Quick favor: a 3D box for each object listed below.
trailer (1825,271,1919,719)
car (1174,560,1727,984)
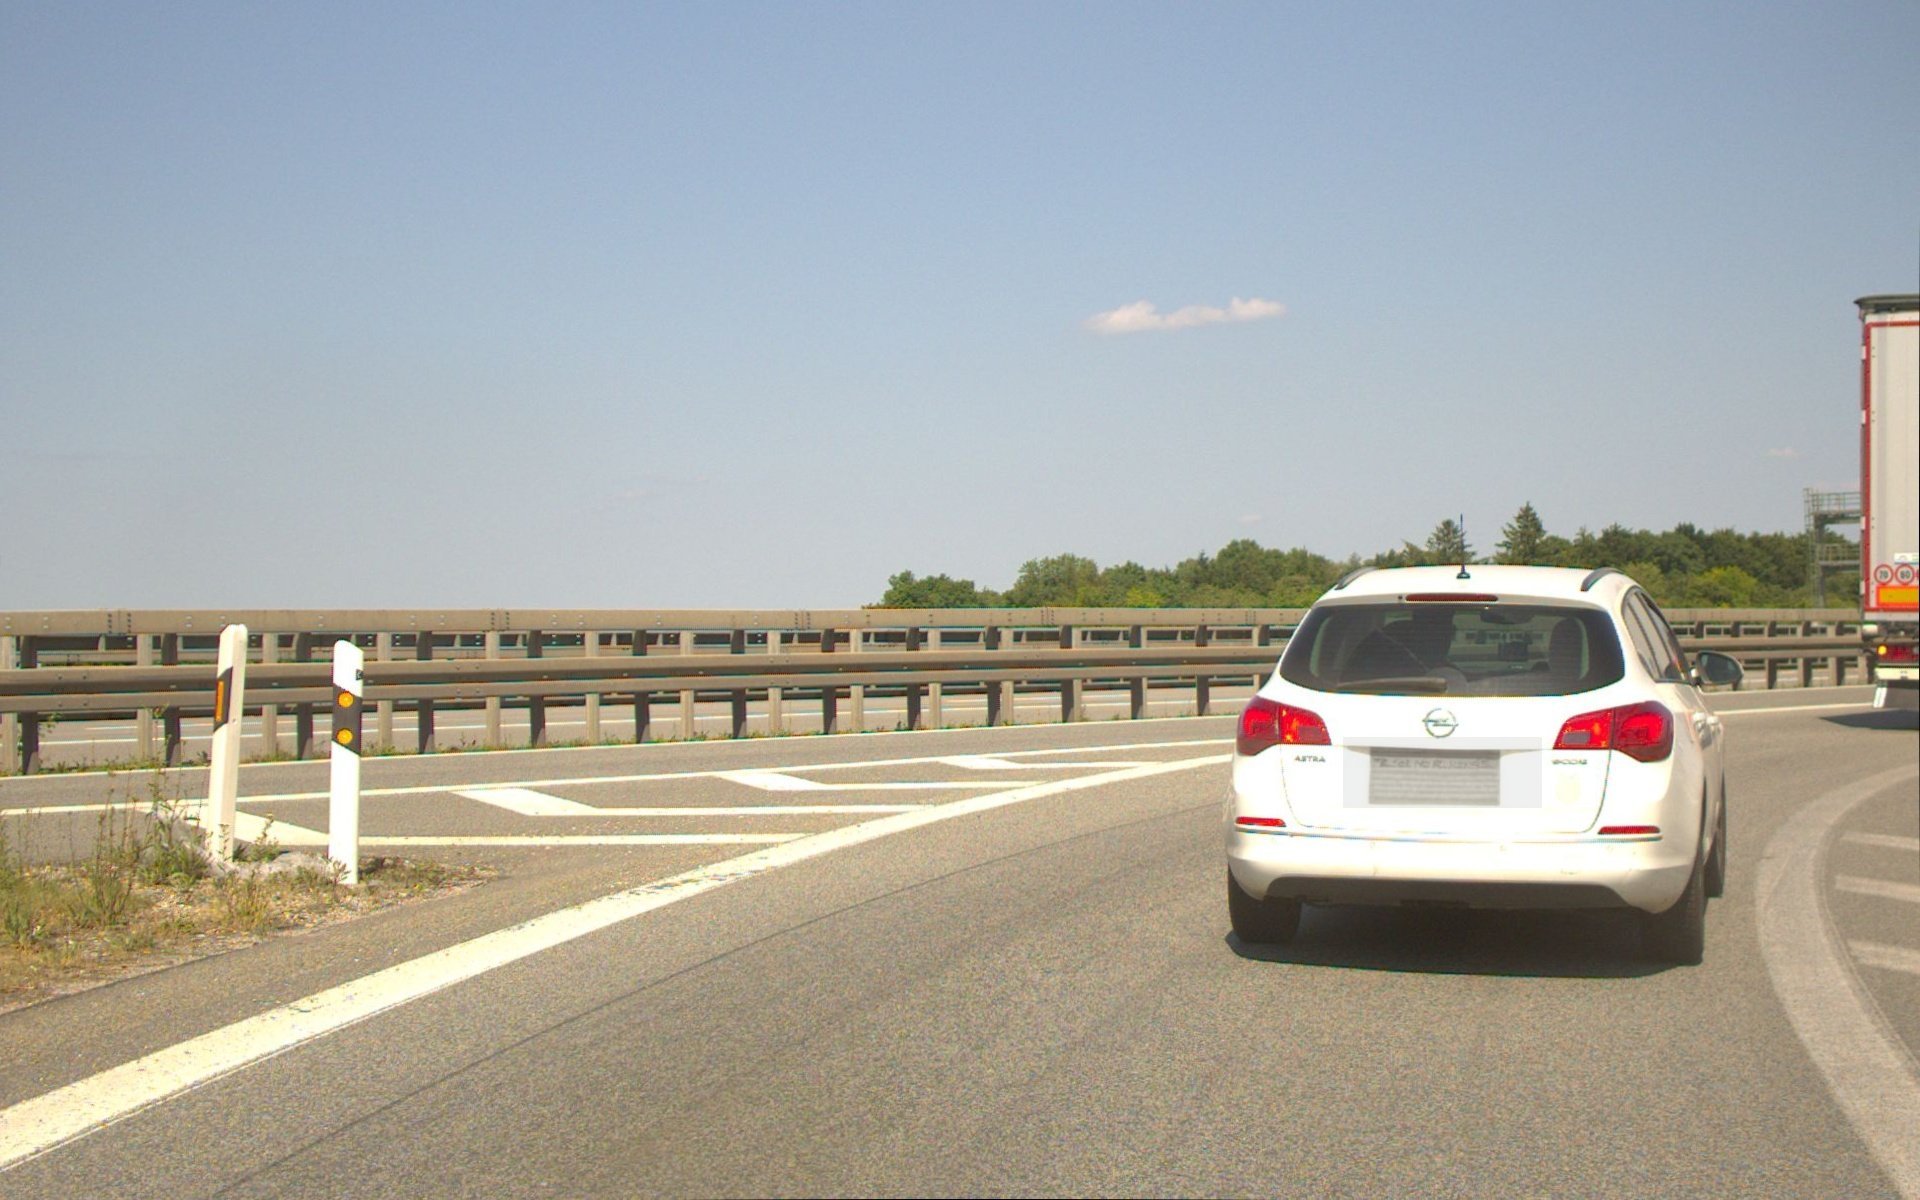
[{"bbox_3d":[12.151,-0.833,36.191,2.917,4.131,11.238,0,-1,30],"label":"trailer"},{"bbox_3d":[2.181,0.579,14.195,1.855,1.438,4.369,1,0,13],"label":"car"}]
